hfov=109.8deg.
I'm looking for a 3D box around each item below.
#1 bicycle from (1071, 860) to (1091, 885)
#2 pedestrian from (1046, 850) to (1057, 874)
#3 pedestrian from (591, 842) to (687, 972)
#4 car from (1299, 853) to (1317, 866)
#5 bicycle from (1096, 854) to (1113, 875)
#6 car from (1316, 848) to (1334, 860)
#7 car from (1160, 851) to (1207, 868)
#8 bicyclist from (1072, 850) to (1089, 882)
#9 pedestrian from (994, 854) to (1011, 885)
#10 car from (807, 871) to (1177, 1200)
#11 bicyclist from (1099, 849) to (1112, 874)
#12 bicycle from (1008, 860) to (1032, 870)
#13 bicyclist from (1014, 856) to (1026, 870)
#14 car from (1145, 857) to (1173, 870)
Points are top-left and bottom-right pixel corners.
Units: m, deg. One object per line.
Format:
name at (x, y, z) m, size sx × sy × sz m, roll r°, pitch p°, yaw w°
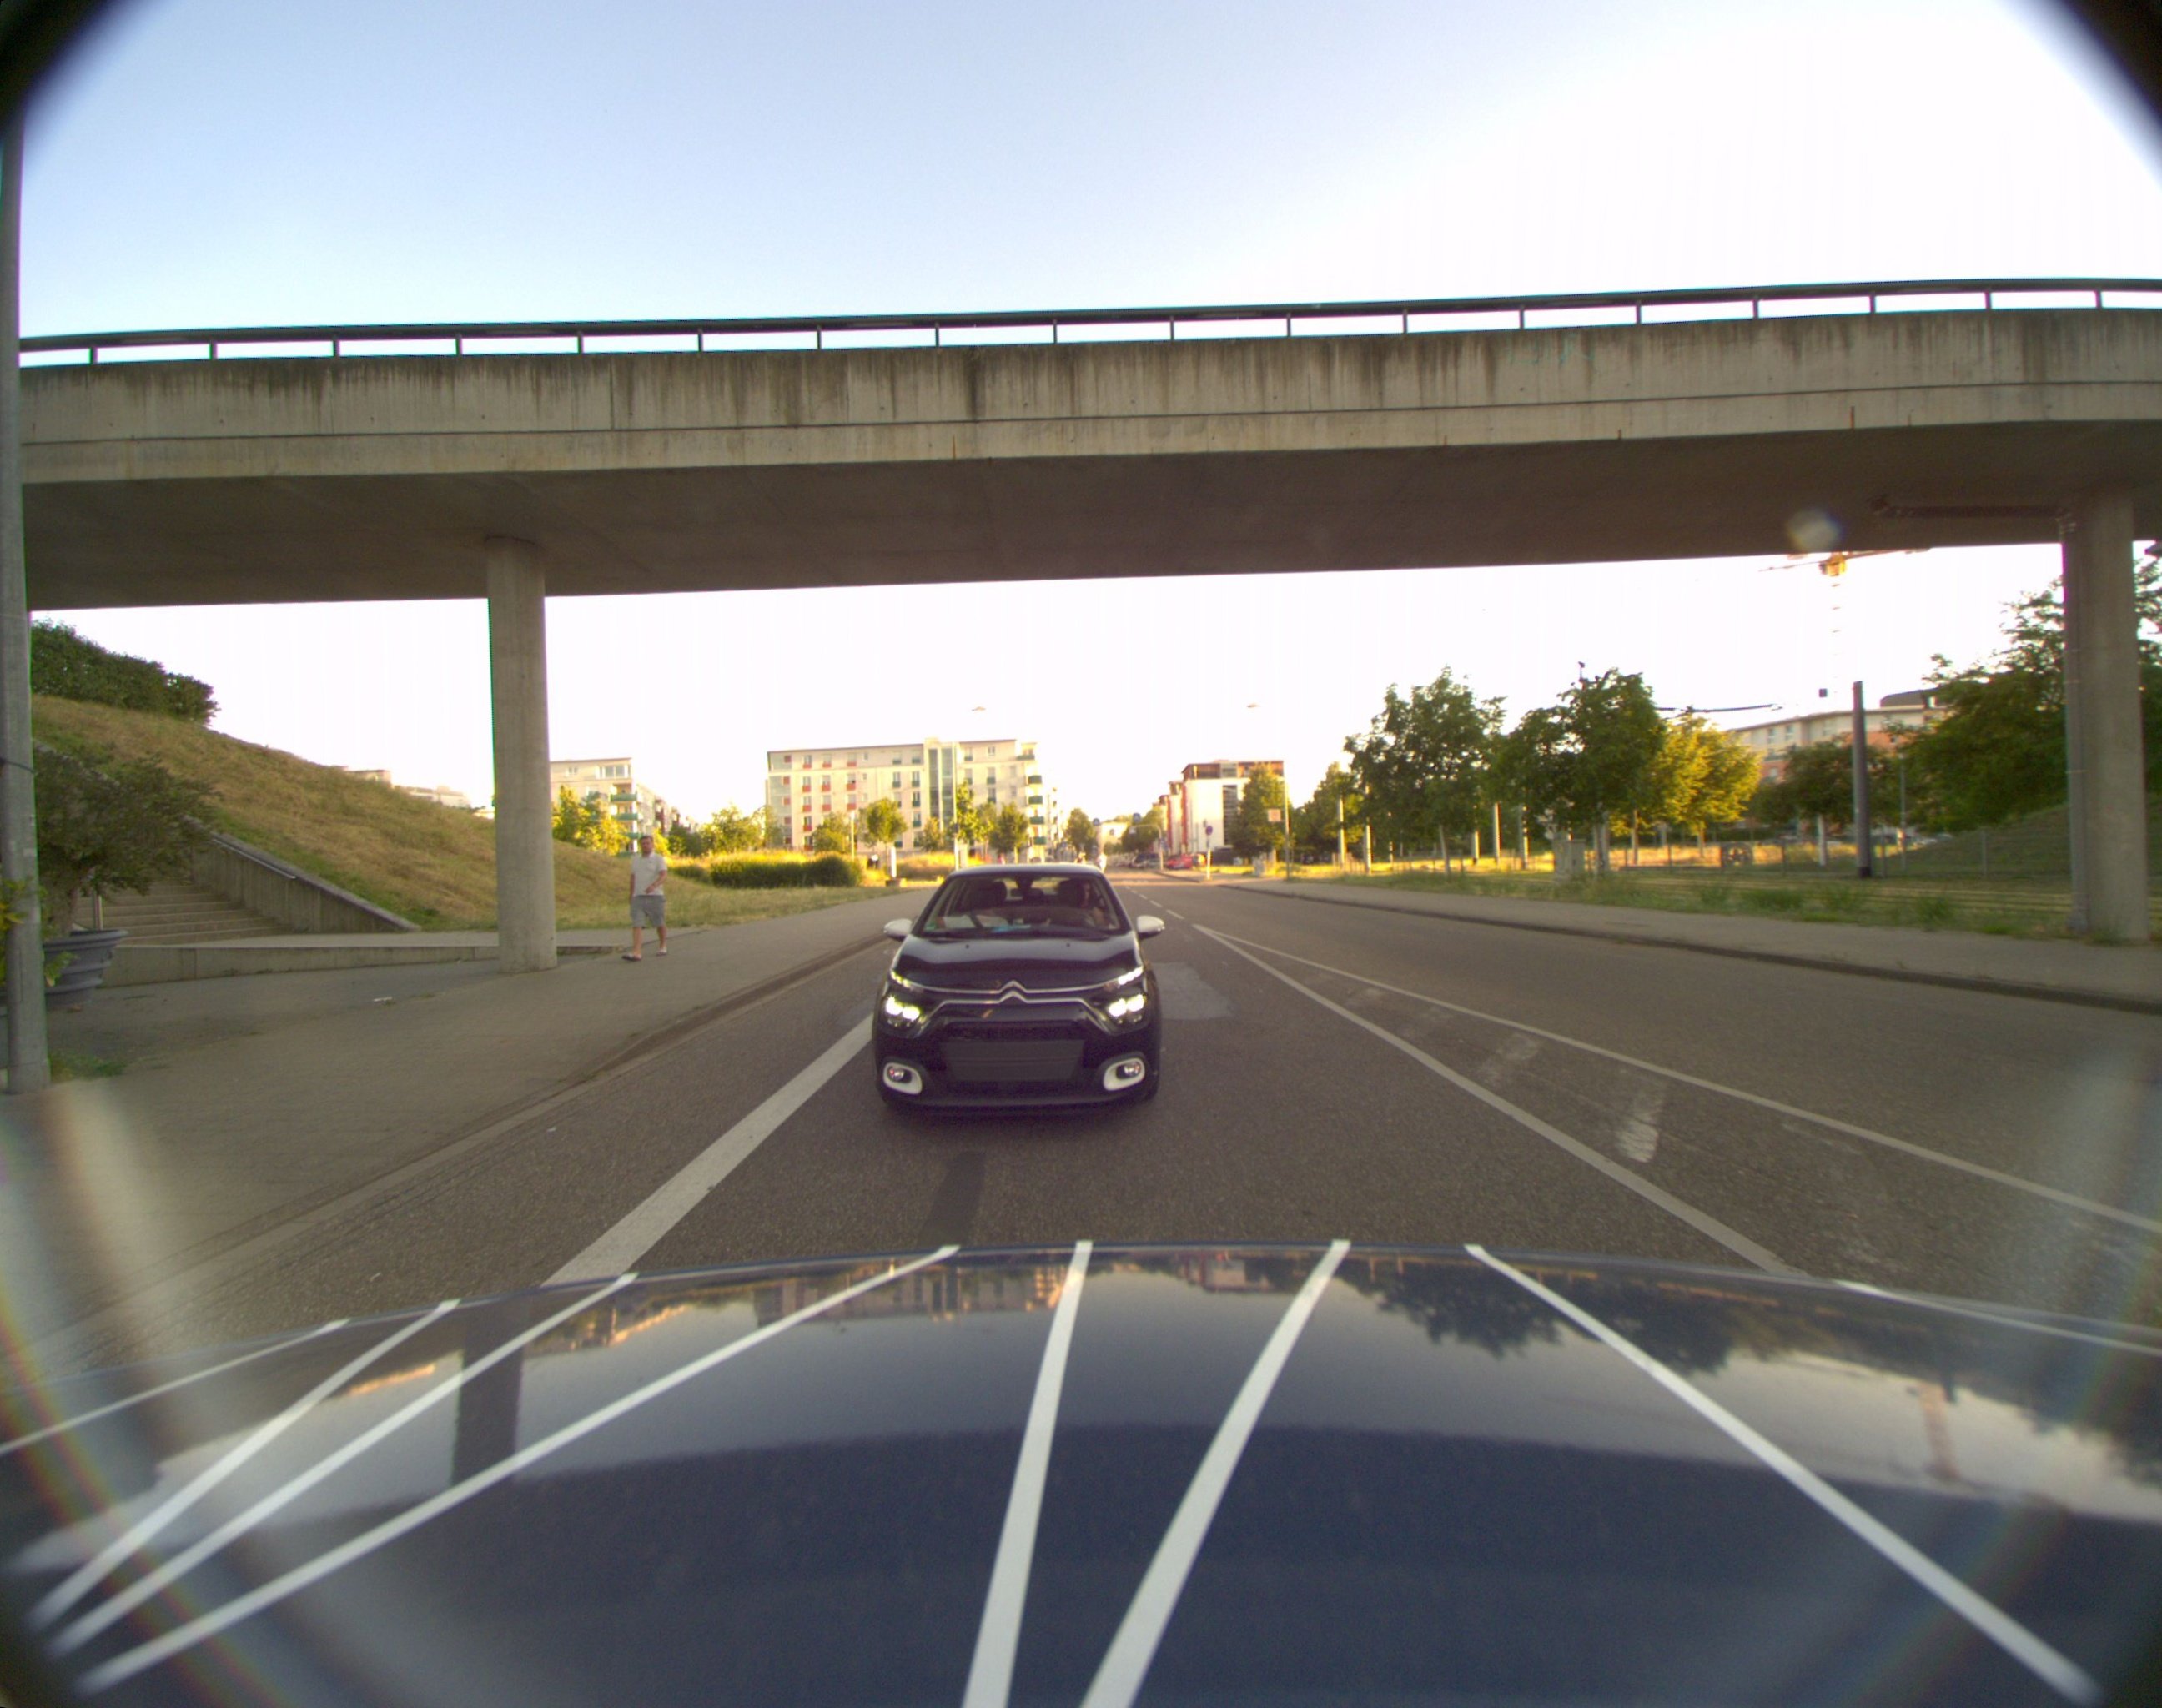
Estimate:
bicycle at (0.003, 0.955, 39.278) m, size 0.662 × 1.217 × 2.441 m, roll -2°, pitch 0°, yaw 8°
pedestrian at (-2.081, 0.595, 54.218) m, size 0.737 × 1.714 × 0.532 m, roll 0°, pitch 0°, yaw 1°
pedestrian at (-6.174, 0.715, 10.656) m, size 0.737 × 1.714 × 0.906 m, roll -2°, pitch 0°, yaw 1°
car at (29.084, 0.740, 97.293) m, size 1.942 × 1.521 × 4.004 m, roll -2°, pitch 0°, yaw 14°
bicycle at (1.793, 0.783, 57.259) m, size 0.886 × 1.483 × 3.323 m, roll -2°, pitch 0°, yaw 7°
car at (31.079, 0.002, 96.849) m, size 1.942 × 1.521 × 4.004 m, roll -2°, pitch 0°, yaw 14°
car at (12.972, 0.718, 96.633) m, size 5.513 × 2.002 × 2.003 m, roll -2°, pitch 0°, yaw 26°
bicyclist at (-0.026, 0.618, 39.142) m, size 0.696 × 1.630 × 0.852 m, roll -2°, pitch 0°, yaw 8°
pedestrian at (-4.015, 0.787, 39.015) m, size 0.737 × 1.620 × 0.859 m, roll 0°, pitch 0°, yaw 2°
car at (-0.396, 0.924, 5.670) m, size 1.739 × 1.455 × 4.000 m, roll -2°, pitch 0°, yaw 1°
bicyclist at (1.828, 0.571, 57.213) m, size 0.882 × 1.865 × 1.035 m, roll -2°, pitch 0°, yaw 5°
bicycle at (-7.130, 1.307, 88.661) m, size 0.902 × 1.142 × 3.489 m, roll -2°, pitch 0°, yaw -43°
bicyclist at (-7.115, 1.016, 88.446) m, size 0.934 × 1.585 × 1.065 m, roll -2°, pitch 0°, yaw -37°
car at (11.653, 1.410, 113.928) m, size 3.996 × 1.718 × 2.000 m, roll -2°, pitch 0°, yaw 2°
